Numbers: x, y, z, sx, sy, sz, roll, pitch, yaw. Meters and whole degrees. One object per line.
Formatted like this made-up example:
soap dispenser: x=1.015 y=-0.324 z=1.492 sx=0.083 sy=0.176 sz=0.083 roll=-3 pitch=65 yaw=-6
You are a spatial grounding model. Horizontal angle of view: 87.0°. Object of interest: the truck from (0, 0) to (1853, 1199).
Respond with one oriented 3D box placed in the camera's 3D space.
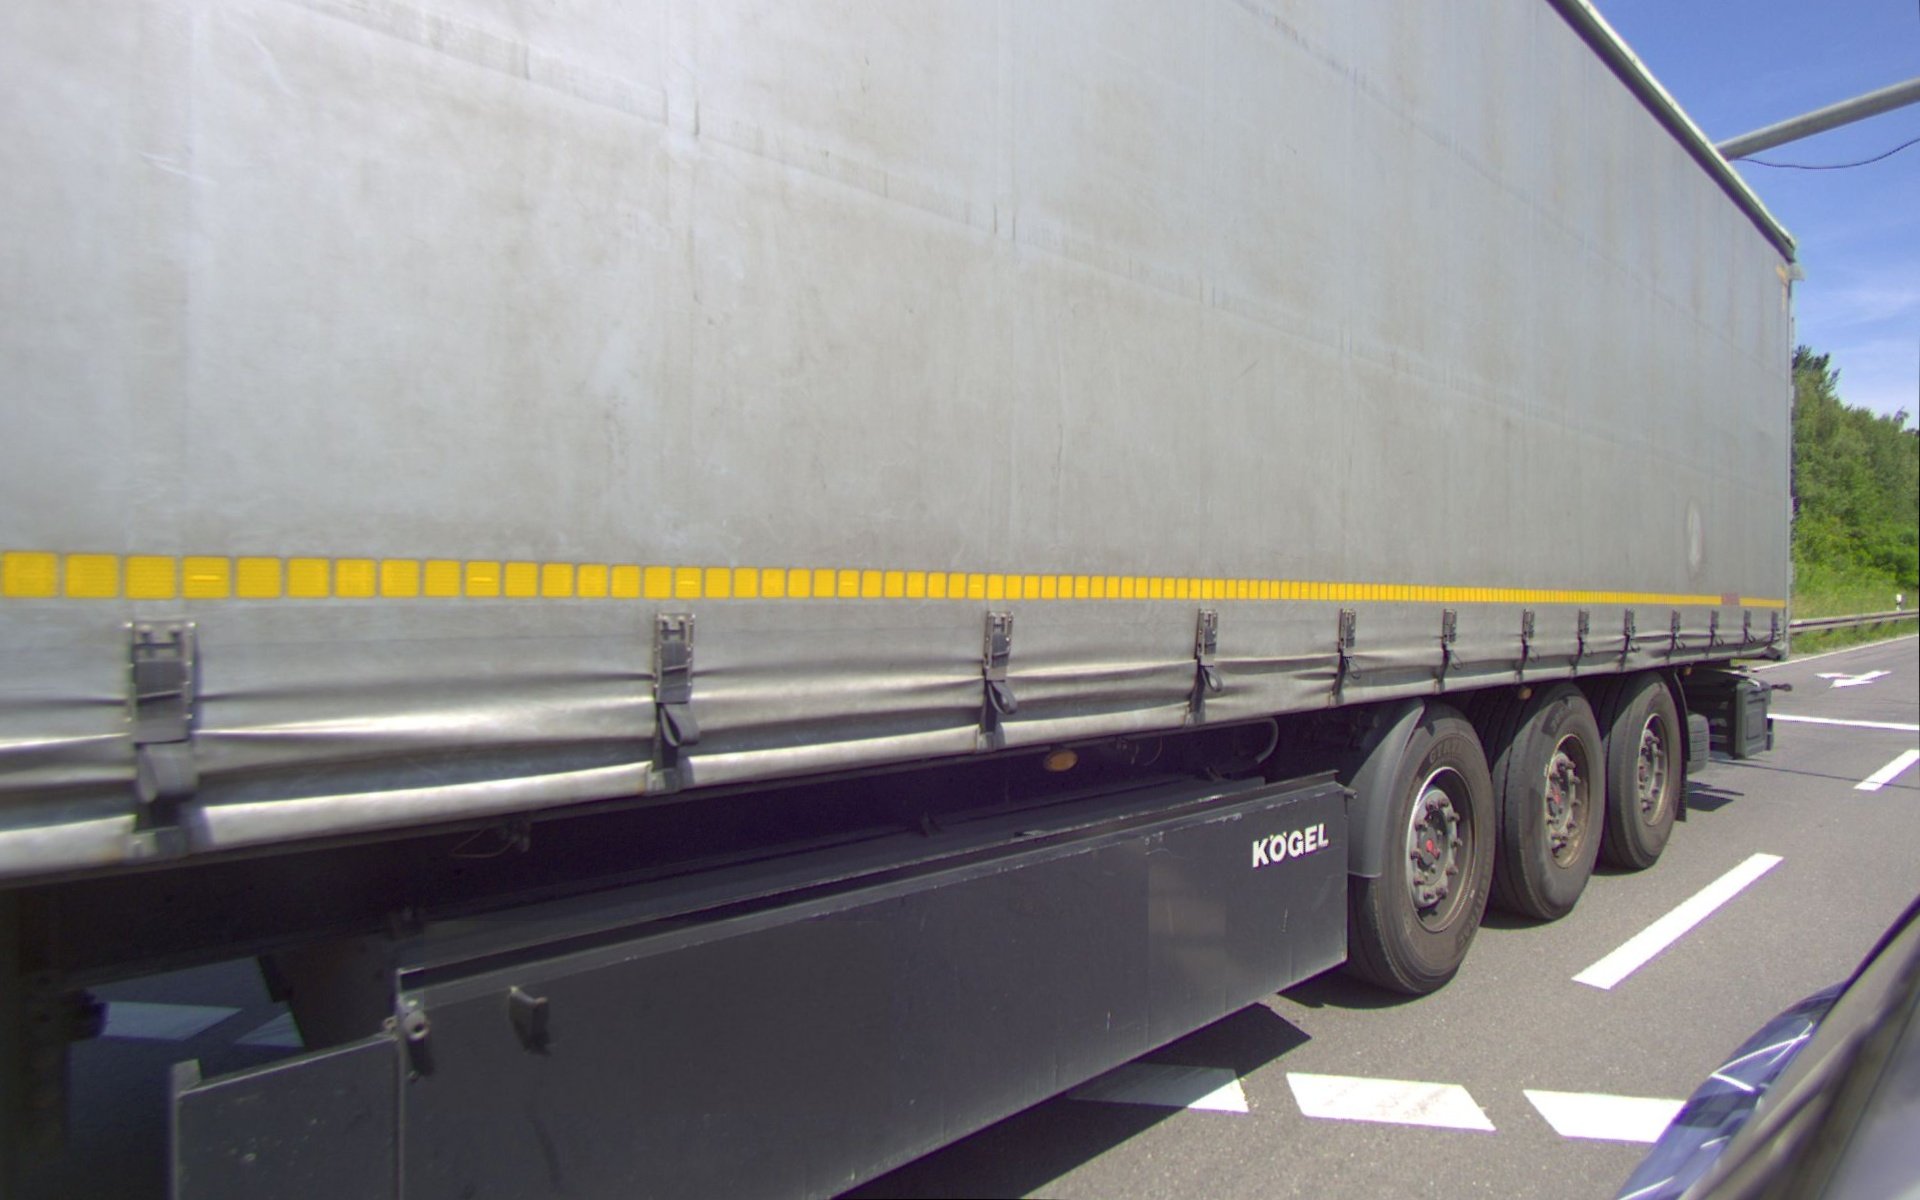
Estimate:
truck: x=-0.030 y=-0.701 z=3.731 sx=13.875 sy=4.058 sz=2.980 roll=0 pitch=3 yaw=-41
